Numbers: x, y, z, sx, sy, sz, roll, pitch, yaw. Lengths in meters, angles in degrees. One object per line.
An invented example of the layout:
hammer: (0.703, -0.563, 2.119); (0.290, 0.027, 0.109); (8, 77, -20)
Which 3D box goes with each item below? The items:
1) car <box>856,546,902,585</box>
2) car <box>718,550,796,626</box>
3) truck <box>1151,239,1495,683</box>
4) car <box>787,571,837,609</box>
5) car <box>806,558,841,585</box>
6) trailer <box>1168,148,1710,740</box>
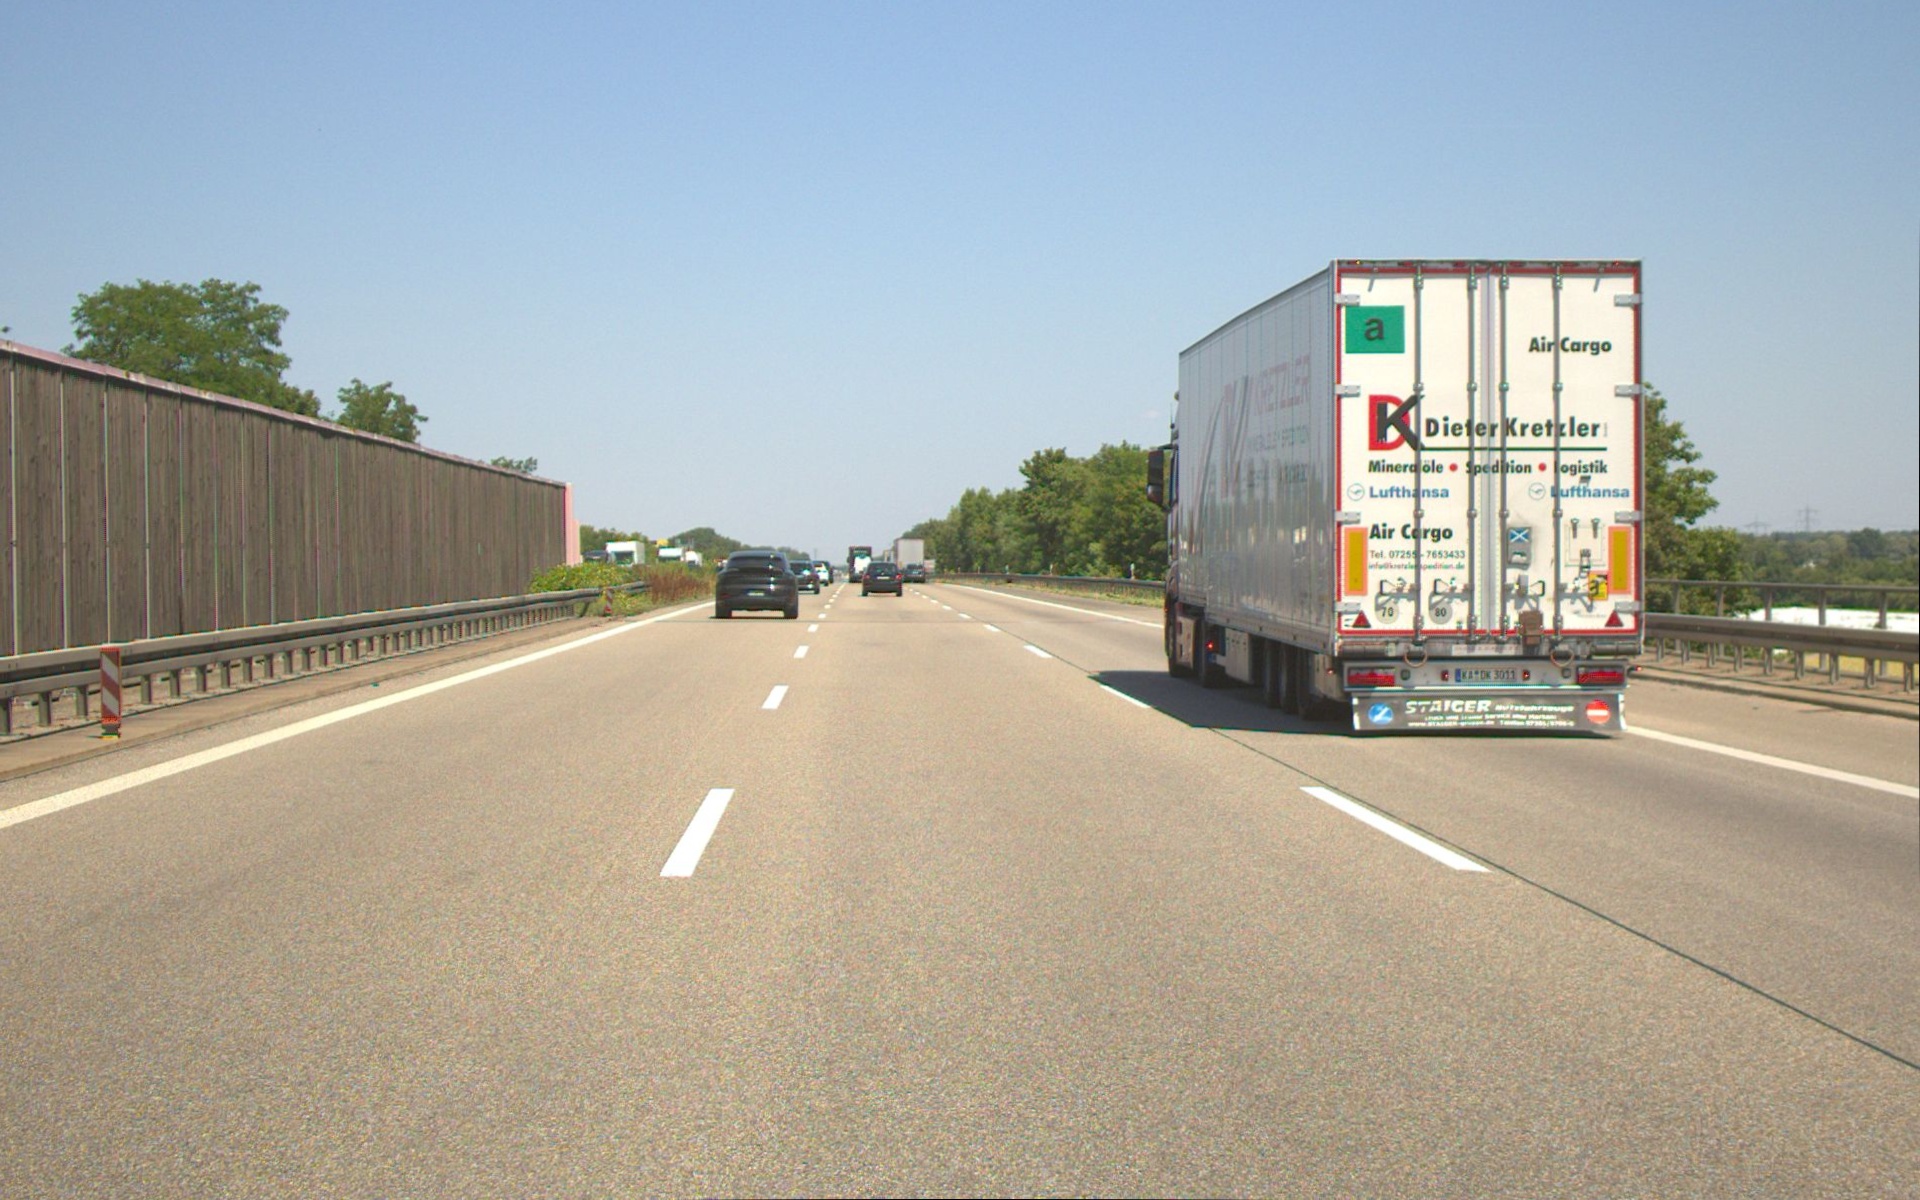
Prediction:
car: (-3.403, -1.439, 144.638); (1.903, 1.578, 4.304); (-1, 0, -1)
car: (-5.017, -0.324, 85.124); (1.880, 1.786, 4.001); (0, 1, -3)
truck: (4.205, -1.607, 41.470); (3.234, 4.872, 6.972); (0, 1, -1)
car: (-6.597, -0.467, 153.343); (2.128, 1.640, 4.304); (-1, 0, -1)
car: (-8.594, -1.801, 217.098); (2.128, 1.640, 4.304); (-1, 0, -1)
trailer: (4.346, -1.422, 35.144); (3.269, 4.821, 14.030); (0, 1, -1)
